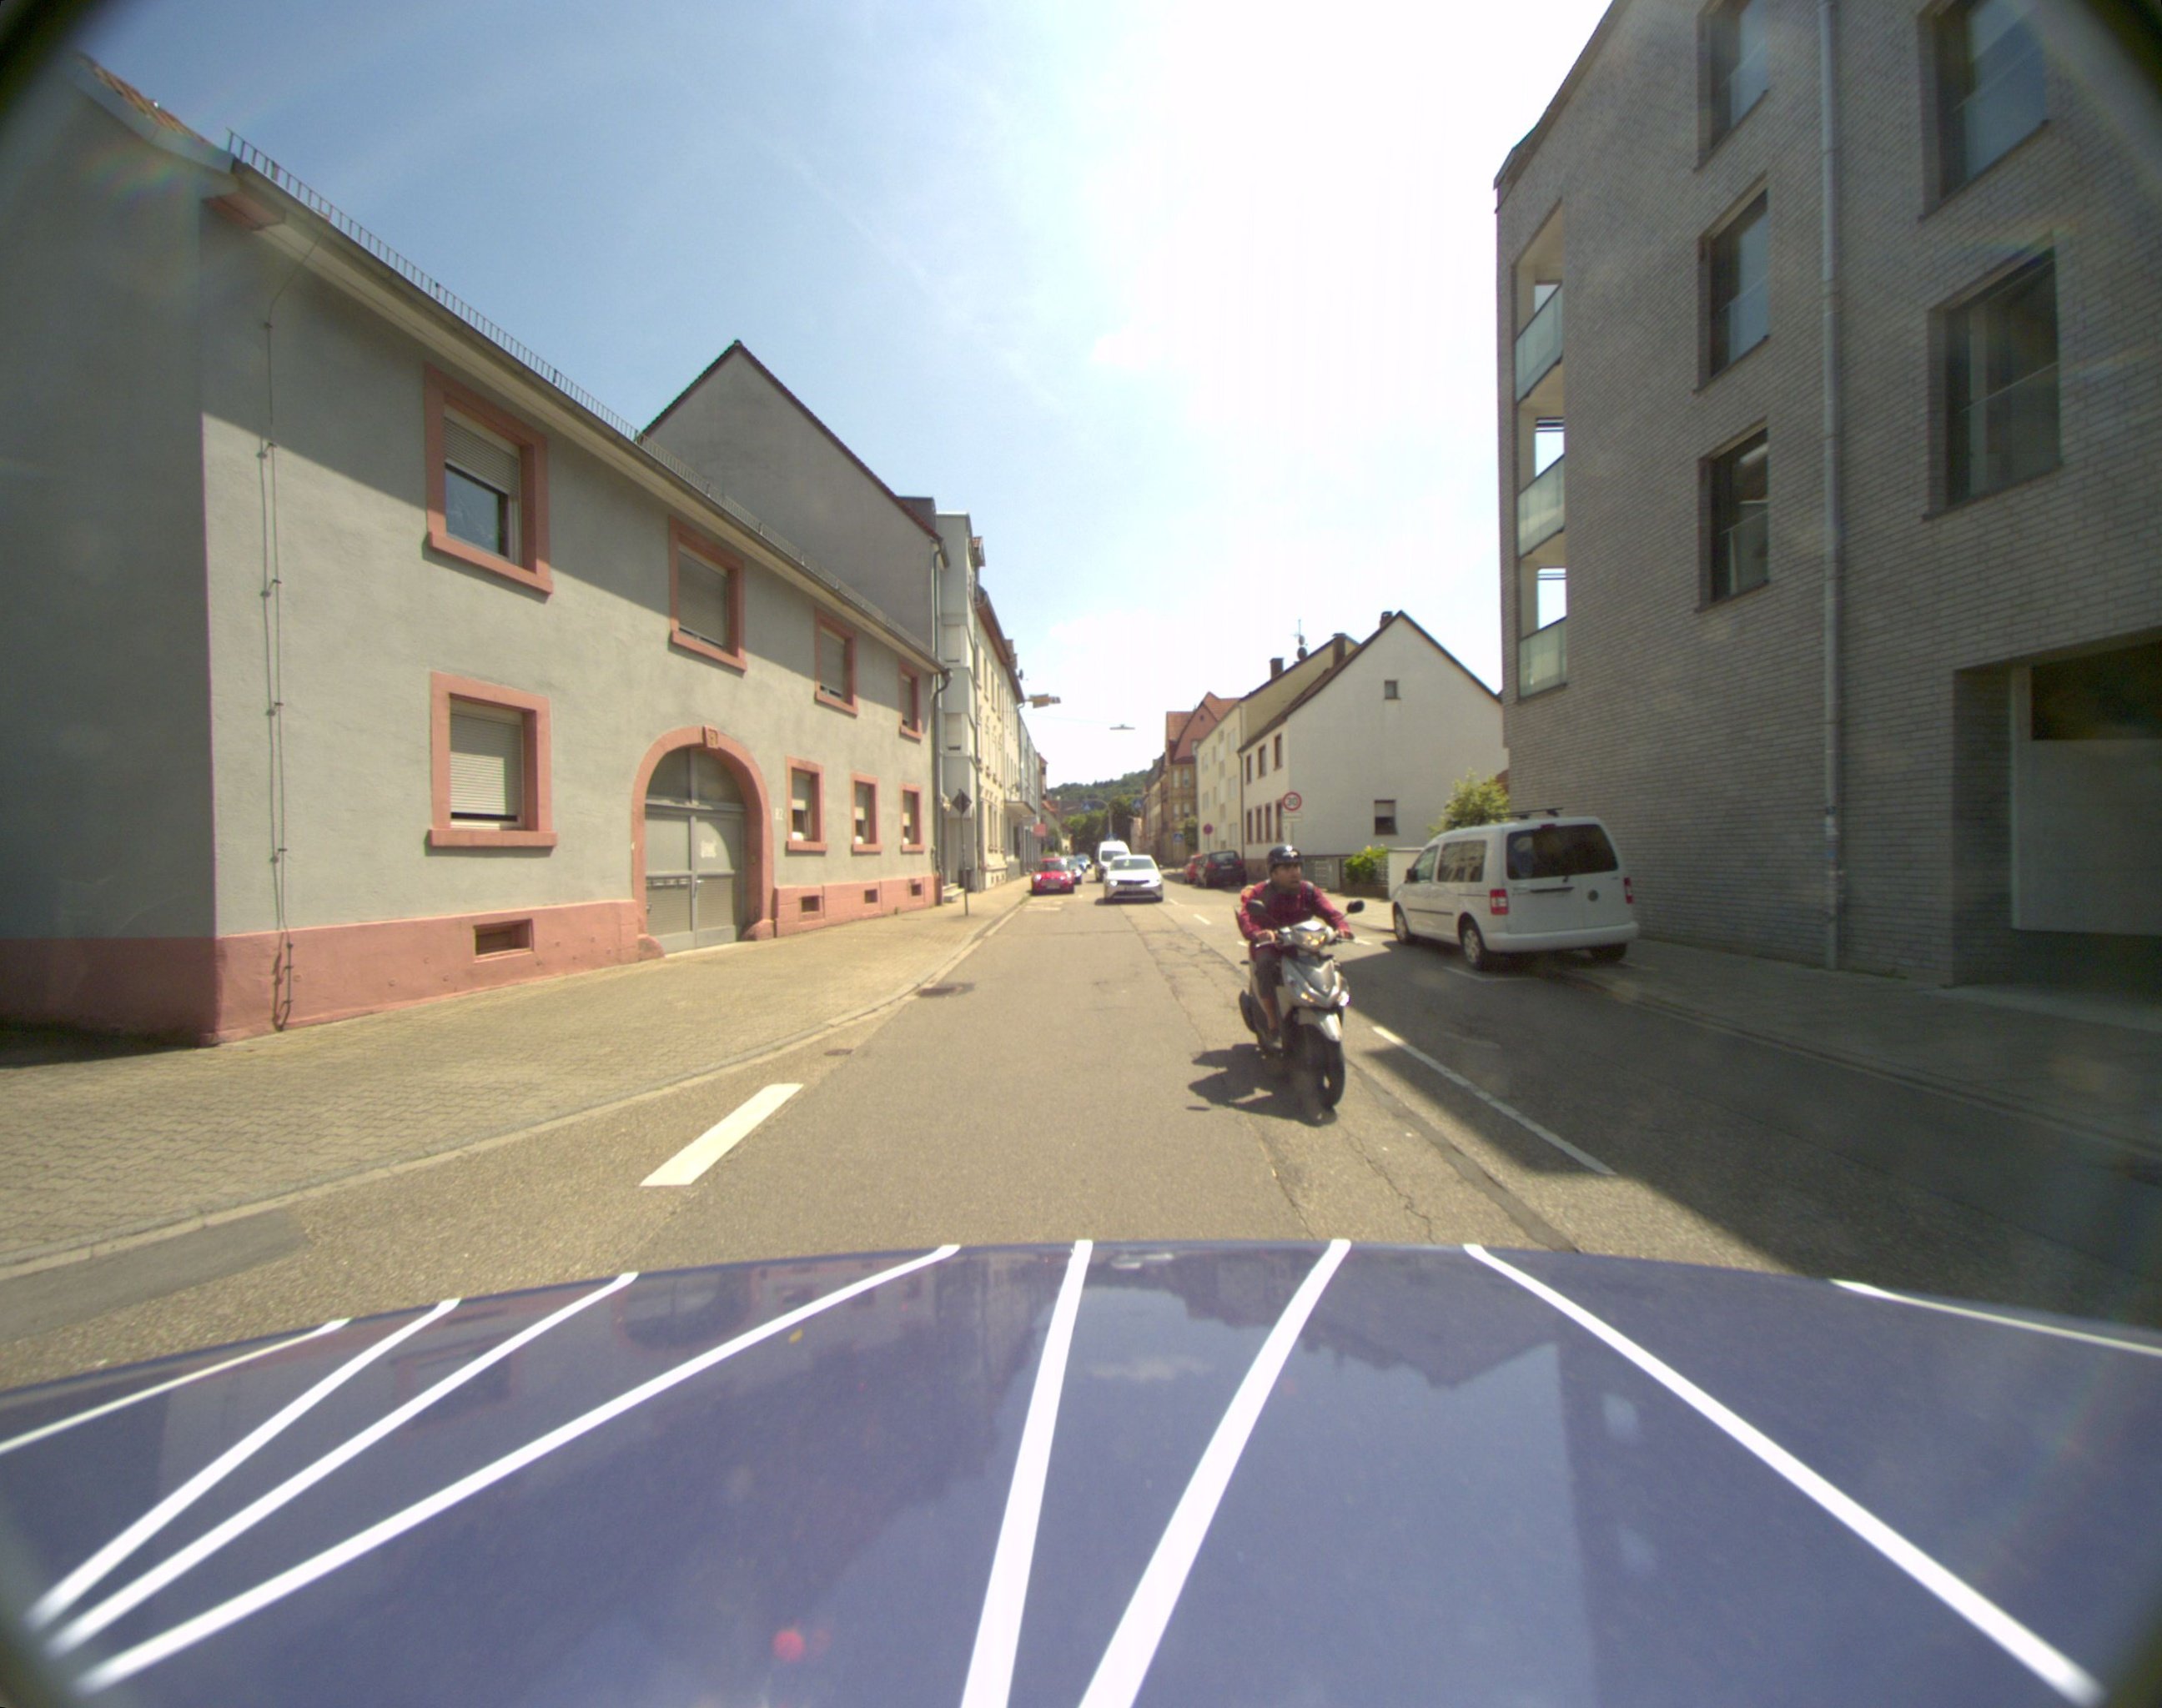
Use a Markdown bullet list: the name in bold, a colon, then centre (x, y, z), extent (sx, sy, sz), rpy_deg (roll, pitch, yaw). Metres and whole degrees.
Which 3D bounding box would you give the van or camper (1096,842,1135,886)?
- **van or camper**: centre (1.886, 0.536, 42.774), extent (1.998, 2.273, 5.144), rpy_deg (-1, 0, 1)

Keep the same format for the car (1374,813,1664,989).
- **car**: centre (5.734, 0.524, 10.680), extent (1.761, 1.881, 4.337), rpy_deg (-3, 0, 4)

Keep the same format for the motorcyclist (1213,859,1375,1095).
- **motorcyclist**: centre (1.403, 0.766, 5.196), extent (0.793, 1.431, 1.020), rpy_deg (-2, 0, 1)

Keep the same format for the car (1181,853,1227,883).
- **car**: centre (6.180, 0.680, 38.642), extent (1.838, 1.408, 4.290), rpy_deg (-1, 0, 3)

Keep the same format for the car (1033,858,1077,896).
- **car**: centre (-1.023, 0.870, 30.675), extent (1.623, 1.377, 3.538), rpy_deg (-1, 0, -1)

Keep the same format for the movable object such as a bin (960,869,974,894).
- **movable object such as a bin**: centre (-4.222, 1.020, 28.185), extent (0.474, 0.929, 0.487), rpy_deg (0, 1, -7)

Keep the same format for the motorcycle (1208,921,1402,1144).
- **motorcycle**: centre (1.416, 1.087, 5.233), extent (0.760, 1.049, 1.992), rpy_deg (-2, 0, 1)

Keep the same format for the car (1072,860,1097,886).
- **car**: centre (0.363, 1.621, 66.140), extent (1.998, 2.002, 4.000), rpy_deg (-3, 0, 1)

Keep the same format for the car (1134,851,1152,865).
- **car**: centre (6.802, 0.466, 83.982), extent (1.787, 1.450, 4.635), rpy_deg (-1, 0, 2)

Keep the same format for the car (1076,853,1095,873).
- **car**: centre (0.526, 0.960, 83.160), extent (1.998, 2.002, 4.000), rpy_deg (-3, 0, 1)

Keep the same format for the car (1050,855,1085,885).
- **car**: centre (-0.728, 0.807, 40.126), extent (1.734, 1.412, 4.544), rpy_deg (-1, 0, -1)

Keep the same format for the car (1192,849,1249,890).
- **car**: centre (6.101, 0.624, 33.621), extent (1.799, 1.637, 3.945), rpy_deg (-2, 0, 1)

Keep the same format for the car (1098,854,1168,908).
- **car**: centre (1.555, 0.786, 24.090), extent (1.812, 1.512, 4.000), rpy_deg (-2, 0, -1)
